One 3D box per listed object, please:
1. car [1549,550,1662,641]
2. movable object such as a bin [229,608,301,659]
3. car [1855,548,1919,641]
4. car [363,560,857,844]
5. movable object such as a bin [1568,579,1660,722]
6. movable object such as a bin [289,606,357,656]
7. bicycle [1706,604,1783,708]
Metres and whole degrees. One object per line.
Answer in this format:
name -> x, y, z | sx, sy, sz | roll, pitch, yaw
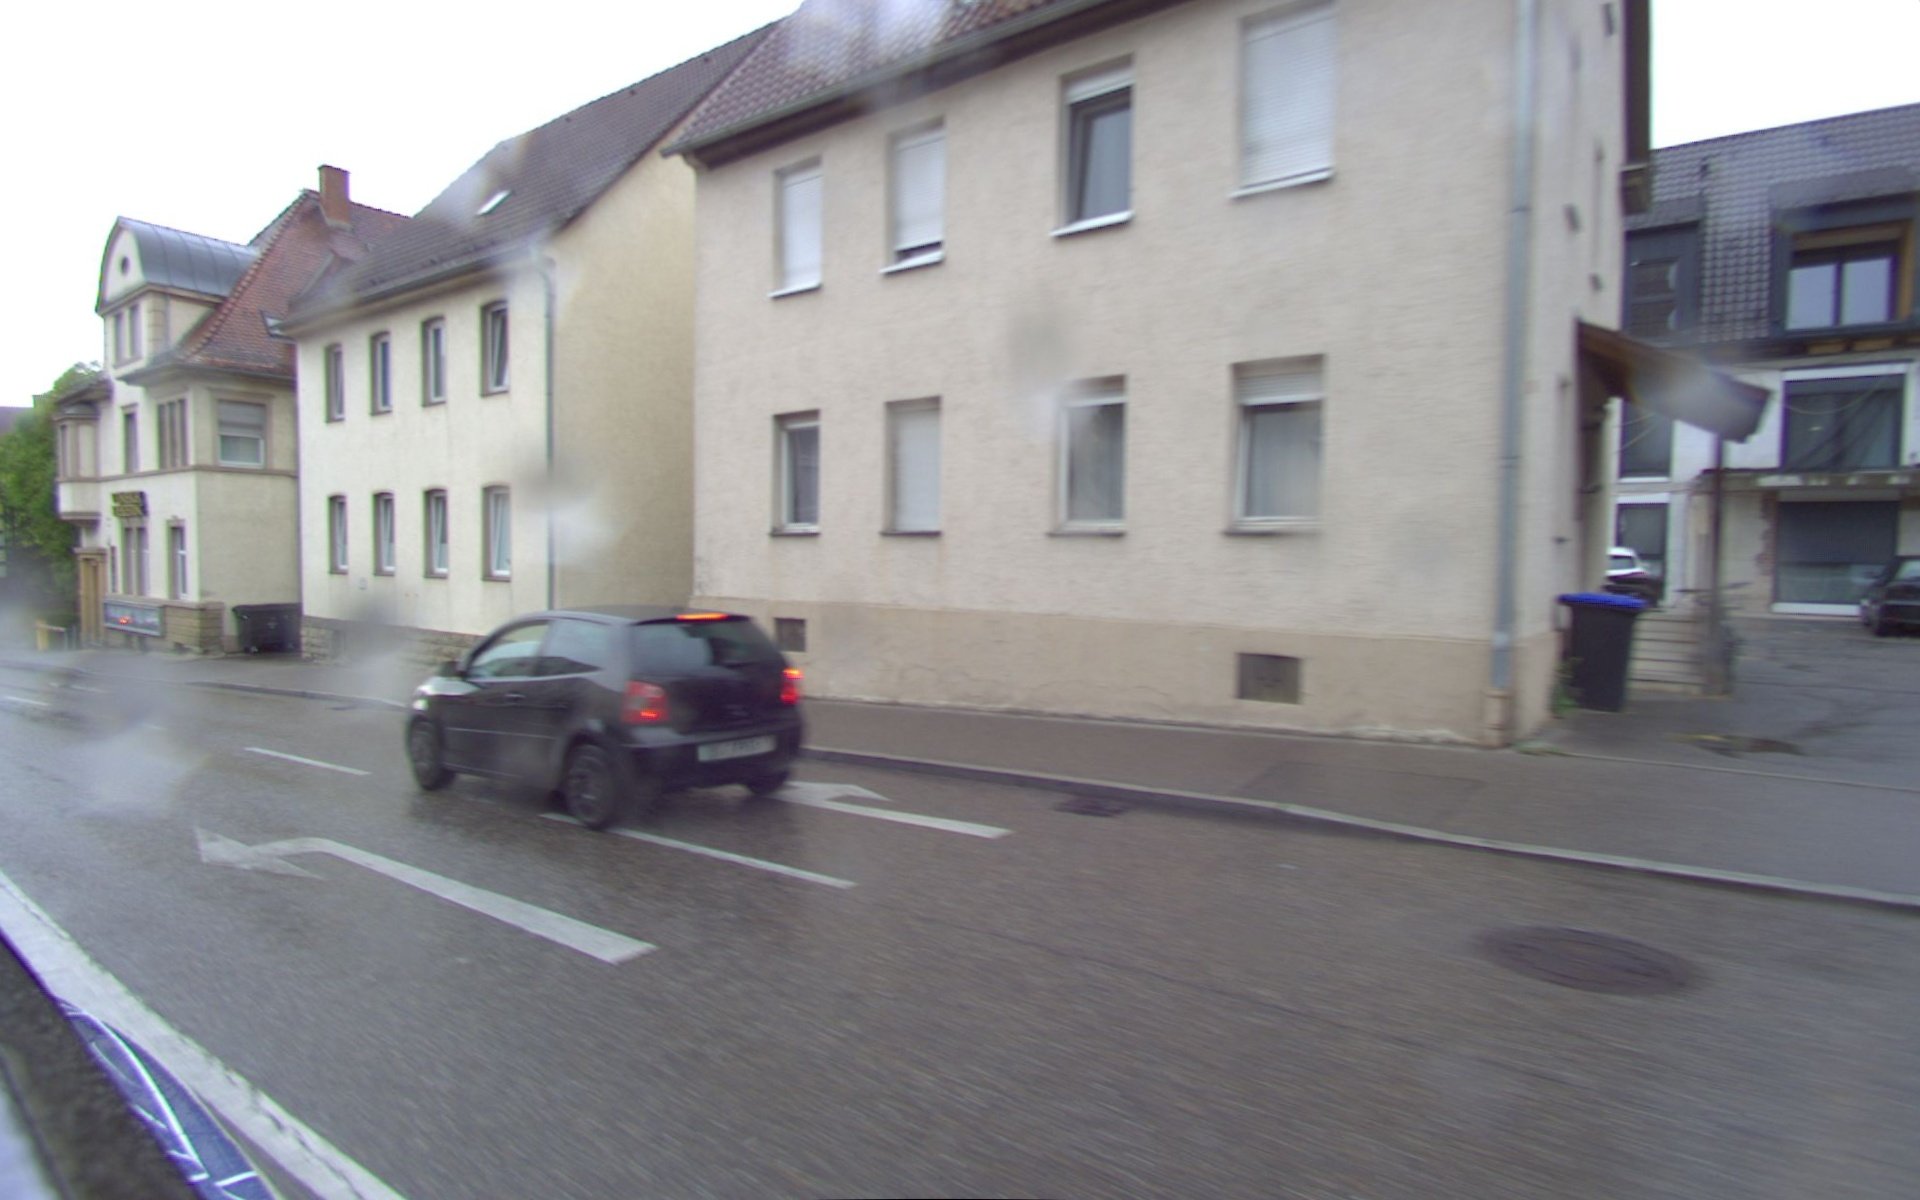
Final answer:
car -> 13.131, -0.133, 20.521 | 1.761, 1.612, 3.221 | -1, 3, 35
movable object such as a bin -> -18.391, 0.879, 26.806 | 1.048, 1.275, 1.268 | -1, 1, 35
car -> 16.940, -0.157, 17.475 | 1.841, 1.477, 3.532 | -2, 2, 36
car -> -2.803, 0.597, 7.777 | 3.808, 1.583, 1.729 | -1, 4, 38
movable object such as a bin -> 6.094, 0.446, 9.428 | 0.649, 1.256, 0.749 | -1, 0, 38
movable object such as a bin -> -17.469, 0.837, 27.767 | 1.048, 1.275, 1.268 | -1, 1, 35
bicycle -> 8.478, 0.561, 10.979 | 0.579, 1.005, 1.938 | -1, 0, 36
